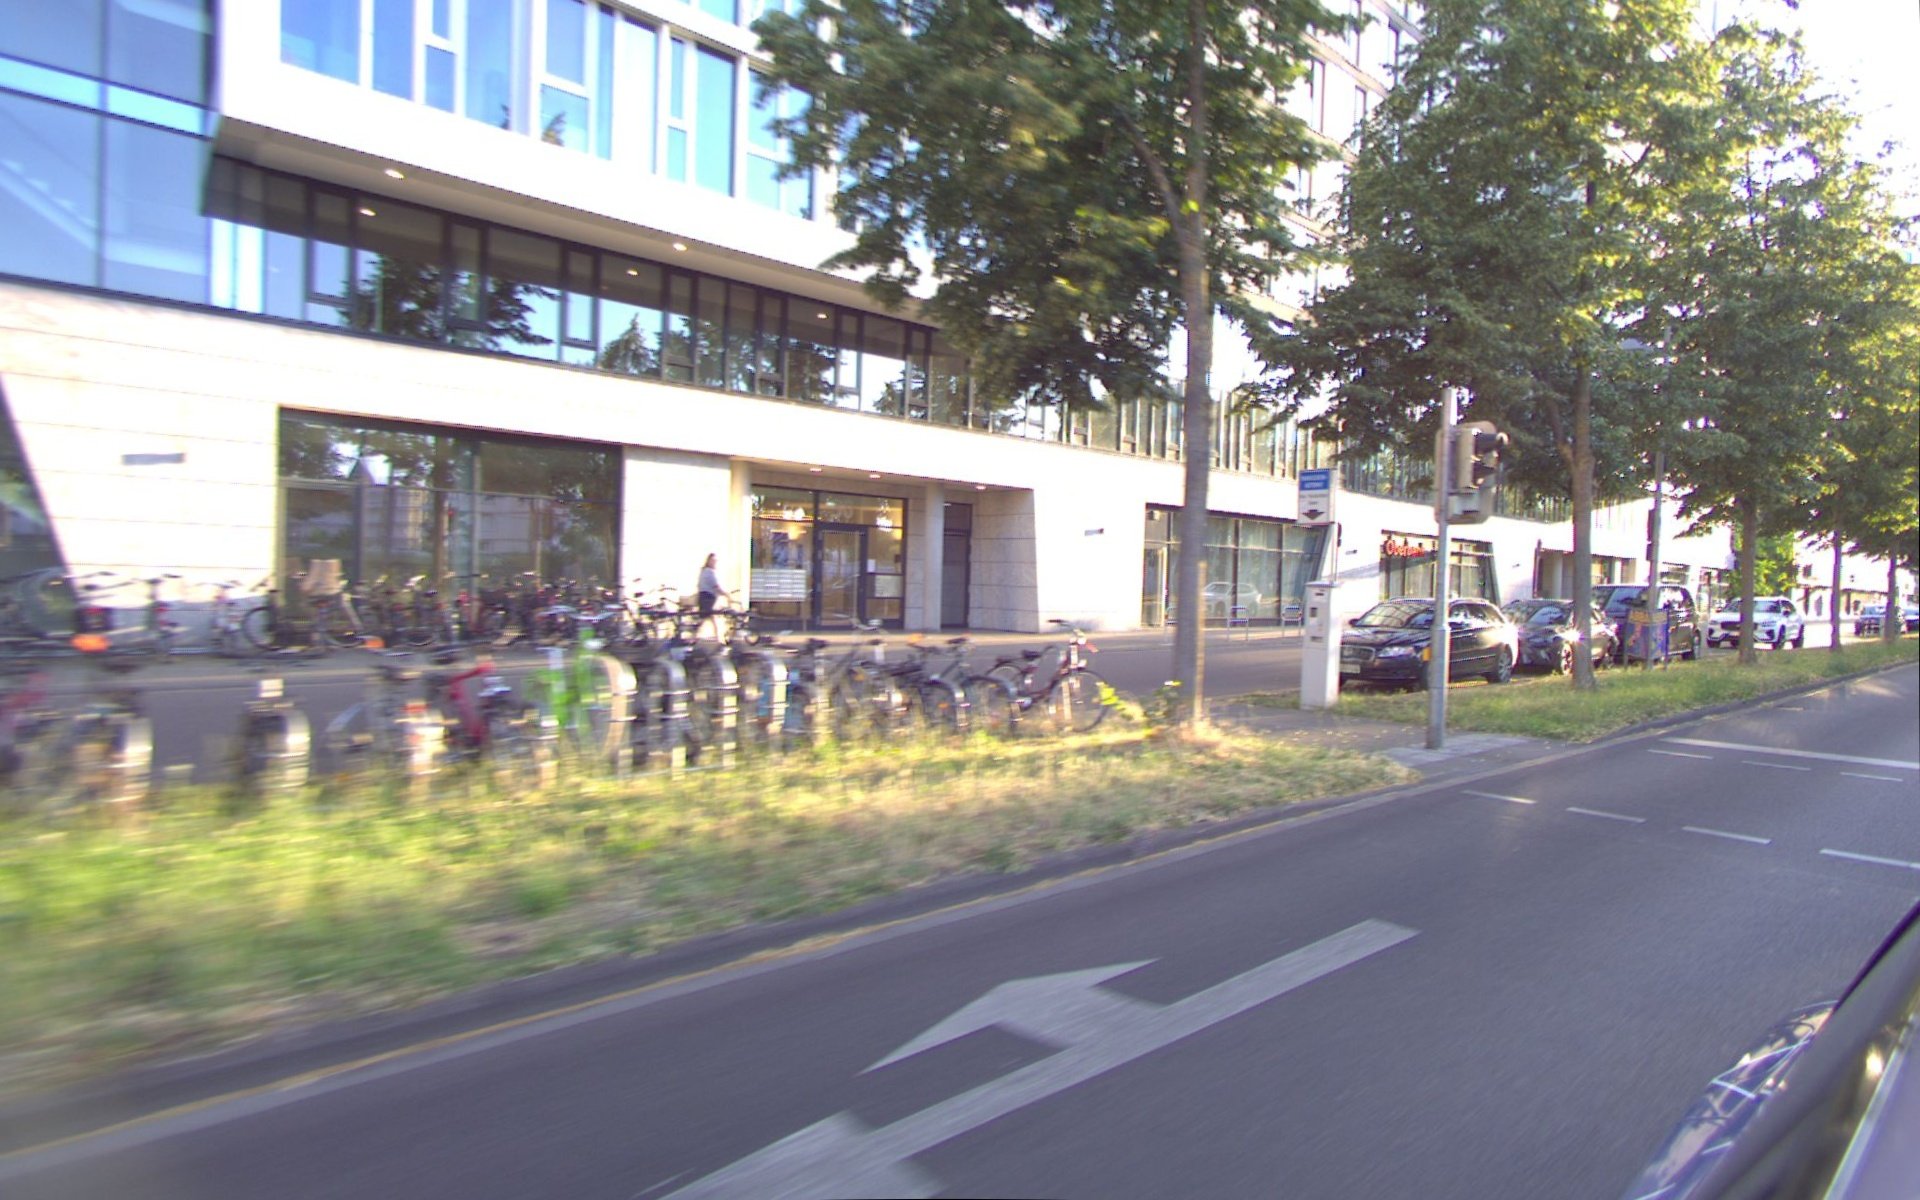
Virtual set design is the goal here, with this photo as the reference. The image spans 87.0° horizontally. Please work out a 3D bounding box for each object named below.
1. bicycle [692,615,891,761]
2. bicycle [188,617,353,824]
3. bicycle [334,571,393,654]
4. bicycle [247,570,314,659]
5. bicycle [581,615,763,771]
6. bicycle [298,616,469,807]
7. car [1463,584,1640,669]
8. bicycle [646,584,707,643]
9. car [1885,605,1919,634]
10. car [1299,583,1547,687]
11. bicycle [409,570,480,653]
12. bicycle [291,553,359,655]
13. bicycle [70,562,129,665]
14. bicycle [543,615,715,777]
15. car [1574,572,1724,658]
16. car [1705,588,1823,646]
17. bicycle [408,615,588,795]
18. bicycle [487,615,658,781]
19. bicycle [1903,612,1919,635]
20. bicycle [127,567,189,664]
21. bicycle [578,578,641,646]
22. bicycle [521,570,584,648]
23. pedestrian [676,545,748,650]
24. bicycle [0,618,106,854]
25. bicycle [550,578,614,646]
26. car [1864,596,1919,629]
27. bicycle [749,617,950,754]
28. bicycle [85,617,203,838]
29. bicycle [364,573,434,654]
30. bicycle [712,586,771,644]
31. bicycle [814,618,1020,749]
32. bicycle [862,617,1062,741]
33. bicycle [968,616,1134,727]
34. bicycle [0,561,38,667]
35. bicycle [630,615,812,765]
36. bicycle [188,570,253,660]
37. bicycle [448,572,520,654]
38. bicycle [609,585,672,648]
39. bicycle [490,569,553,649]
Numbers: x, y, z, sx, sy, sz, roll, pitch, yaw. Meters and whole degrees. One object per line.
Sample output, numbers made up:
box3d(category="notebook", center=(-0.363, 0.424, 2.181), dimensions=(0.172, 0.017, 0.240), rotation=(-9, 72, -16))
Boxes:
box3d(category="bicycle", center=(-1.430, 0.673, 8.300), dimensions=(1.941, 1.067, 0.536), rotation=(-2, -2, 43))
box3d(category="bicycle", center=(-4.167, 0.652, 6.056), dimensions=(1.941, 1.067, 0.408), rotation=(-2, -2, 43))
box3d(category="bicycle", center=(-8.779, 0.154, 14.866), dimensions=(0.366, 1.138, 1.833), rotation=(0, 2, -42))
box3d(category="bicycle", center=(-9.477, 0.165, 14.086), dimensions=(0.495, 1.135, 1.833), rotation=(0, 2, -43))
box3d(category="bicycle", center=(-2.255, 0.666, 7.754), dimensions=(1.941, 1.067, 0.402), rotation=(-2, -2, 43))
box3d(category="bicycle", center=(-3.765, 0.657, 6.529), dimensions=(1.941, 1.067, 0.408), rotation=(-2, -2, 43))
box3d(category="car", center=(12.071, 0.467, 20.529), dimensions=(4.586, 1.489, 1.812), rotation=(0, 2, -42))
box3d(category="bicycle", center=(-5.125, 0.224, 18.231), dimensions=(0.396, 0.964, 1.748), rotation=(0, 2, -39))
box3d(category="car", center=(50.749, 1.012, 53.825), dimensions=(4.752, 1.384, 1.855), rotation=(0, 2, -43))
box3d(category="car", center=(7.679, 0.476, 16.586), dimensions=(4.563, 1.428, 1.873), rotation=(0, 2, -40))
box3d(category="bicycle", center=(-7.959, 0.148, 15.580), dimensions=(0.495, 1.191, 1.833), rotation=(0, 2, -43))
box3d(category="bicycle", center=(-9.134, 0.027, 14.522), dimensions=(0.495, 1.373, 1.833), rotation=(0, 2, -43))
box3d(category="bicycle", center=(-10.974, 0.133, 12.889), dimensions=(0.495, 1.197, 1.985), rotation=(0, 2, -43))
box3d(category="bicycle", center=(-2.489, 0.663, 7.471), dimensions=(1.941, 1.067, 0.309), rotation=(-2, -2, 43))
box3d(category="car", center=(16.919, 0.293, 24.754), dimensions=(4.586, 1.875, 1.997), rotation=(0, 2, -42))
box3d(category="car", center=(25.987, 0.490, 32.655), dimensions=(4.791, 1.662, 1.998), rotation=(0, 2, -40))
box3d(category="bicycle", center=(-3.181, 0.653, 6.861), dimensions=(1.941, 1.067, 0.408), rotation=(-2, -2, 43))
box3d(category="bicycle", center=(-2.843, 0.657, 7.301), dimensions=(1.941, 1.067, 0.342), rotation=(-2, -2, 43))
box3d(category="bicycle", center=(35.264, 0.858, 37.453), dimensions=(1.524, 0.833, 0.316), rotation=(0, 2, -39))
box3d(category="bicycle", center=(-10.505, 0.165, 13.236), dimensions=(0.495, 1.155, 1.985), rotation=(0, 2, -43))
box3d(category="bicycle", center=(-6.033, 0.176, 17.363), dimensions=(0.396, 1.070, 1.835), rotation=(0, 2, -39))
box3d(category="bicycle", center=(-6.738, 0.120, 16.674), dimensions=(0.438, 1.191, 1.835), rotation=(0, 2, -39))
box3d(category="pedestrian", center=(-4.091, -0.049, 16.706), dimensions=(0.937, 1.669, 0.644), rotation=(0, 1, -41))
box3d(category="bicycle", center=(-4.941, 0.646, 5.397), dimensions=(1.941, 1.067, 0.398), rotation=(-2, -2, 44))
box3d(category="bicycle", center=(-6.379, 0.177, 17.032), dimensions=(0.438, 1.060, 1.835), rotation=(0, 2, -39))
box3d(category="car", center=(44.423, 0.562, 48.112), dimensions=(3.694, 1.534, 1.712), rotation=(0, 0, -41))
box3d(category="bicycle", center=(-1.004, 0.703, 8.818), dimensions=(1.938, 1.067, 0.537), rotation=(-2, -2, 40))
box3d(category="bicycle", center=(-4.679, 0.646, 5.762), dimensions=(0.397, 1.067, 1.943), rotation=(0, -2, -43))
box3d(category="bicycle", center=(-8.468, 0.174, 15.239), dimensions=(0.495, 1.127, 1.833), rotation=(0, 2, -43))
box3d(category="bicycle", center=(-4.146, 0.264, 19.141), dimensions=(0.396, 0.999, 1.579), rotation=(0, 2, -39))
box3d(category="bicycle", center=(-0.426, 0.719, 9.147), dimensions=(1.935, 1.067, 0.538), rotation=(-2, -2, 36))
box3d(category="bicycle", center=(-0.021, 0.715, 9.570), dimensions=(1.935, 1.067, 0.538), rotation=(-2, -2, 36))
box3d(category="bicycle", center=(0.922, 0.726, 10.806), dimensions=(0.535, 1.067, 1.945), rotation=(0, -2, -40))
box3d(category="bicycle", center=(-11.486, 0.134, 12.237), dimensions=(0.495, 1.182, 1.985), rotation=(0, 2, -43))
box3d(category="bicycle", center=(-1.948, 0.670, 8.046), dimensions=(1.941, 1.067, 0.402), rotation=(-2, -2, 43))
box3d(category="bicycle", center=(-10.004, 0.168, 13.666), dimensions=(0.495, 1.113, 1.985), rotation=(0, 2, -43))
box3d(category="bicycle", center=(-7.520, 0.176, 15.940), dimensions=(0.495, 1.191, 1.833), rotation=(0, 2, -43))
box3d(category="bicycle", center=(-5.597, 0.260, 17.646), dimensions=(0.396, 0.999, 1.835), rotation=(0, 2, -39))
box3d(category="bicycle", center=(-7.091, 0.116, 16.318), dimensions=(0.438, 1.191, 1.835), rotation=(0, 2, -39))
